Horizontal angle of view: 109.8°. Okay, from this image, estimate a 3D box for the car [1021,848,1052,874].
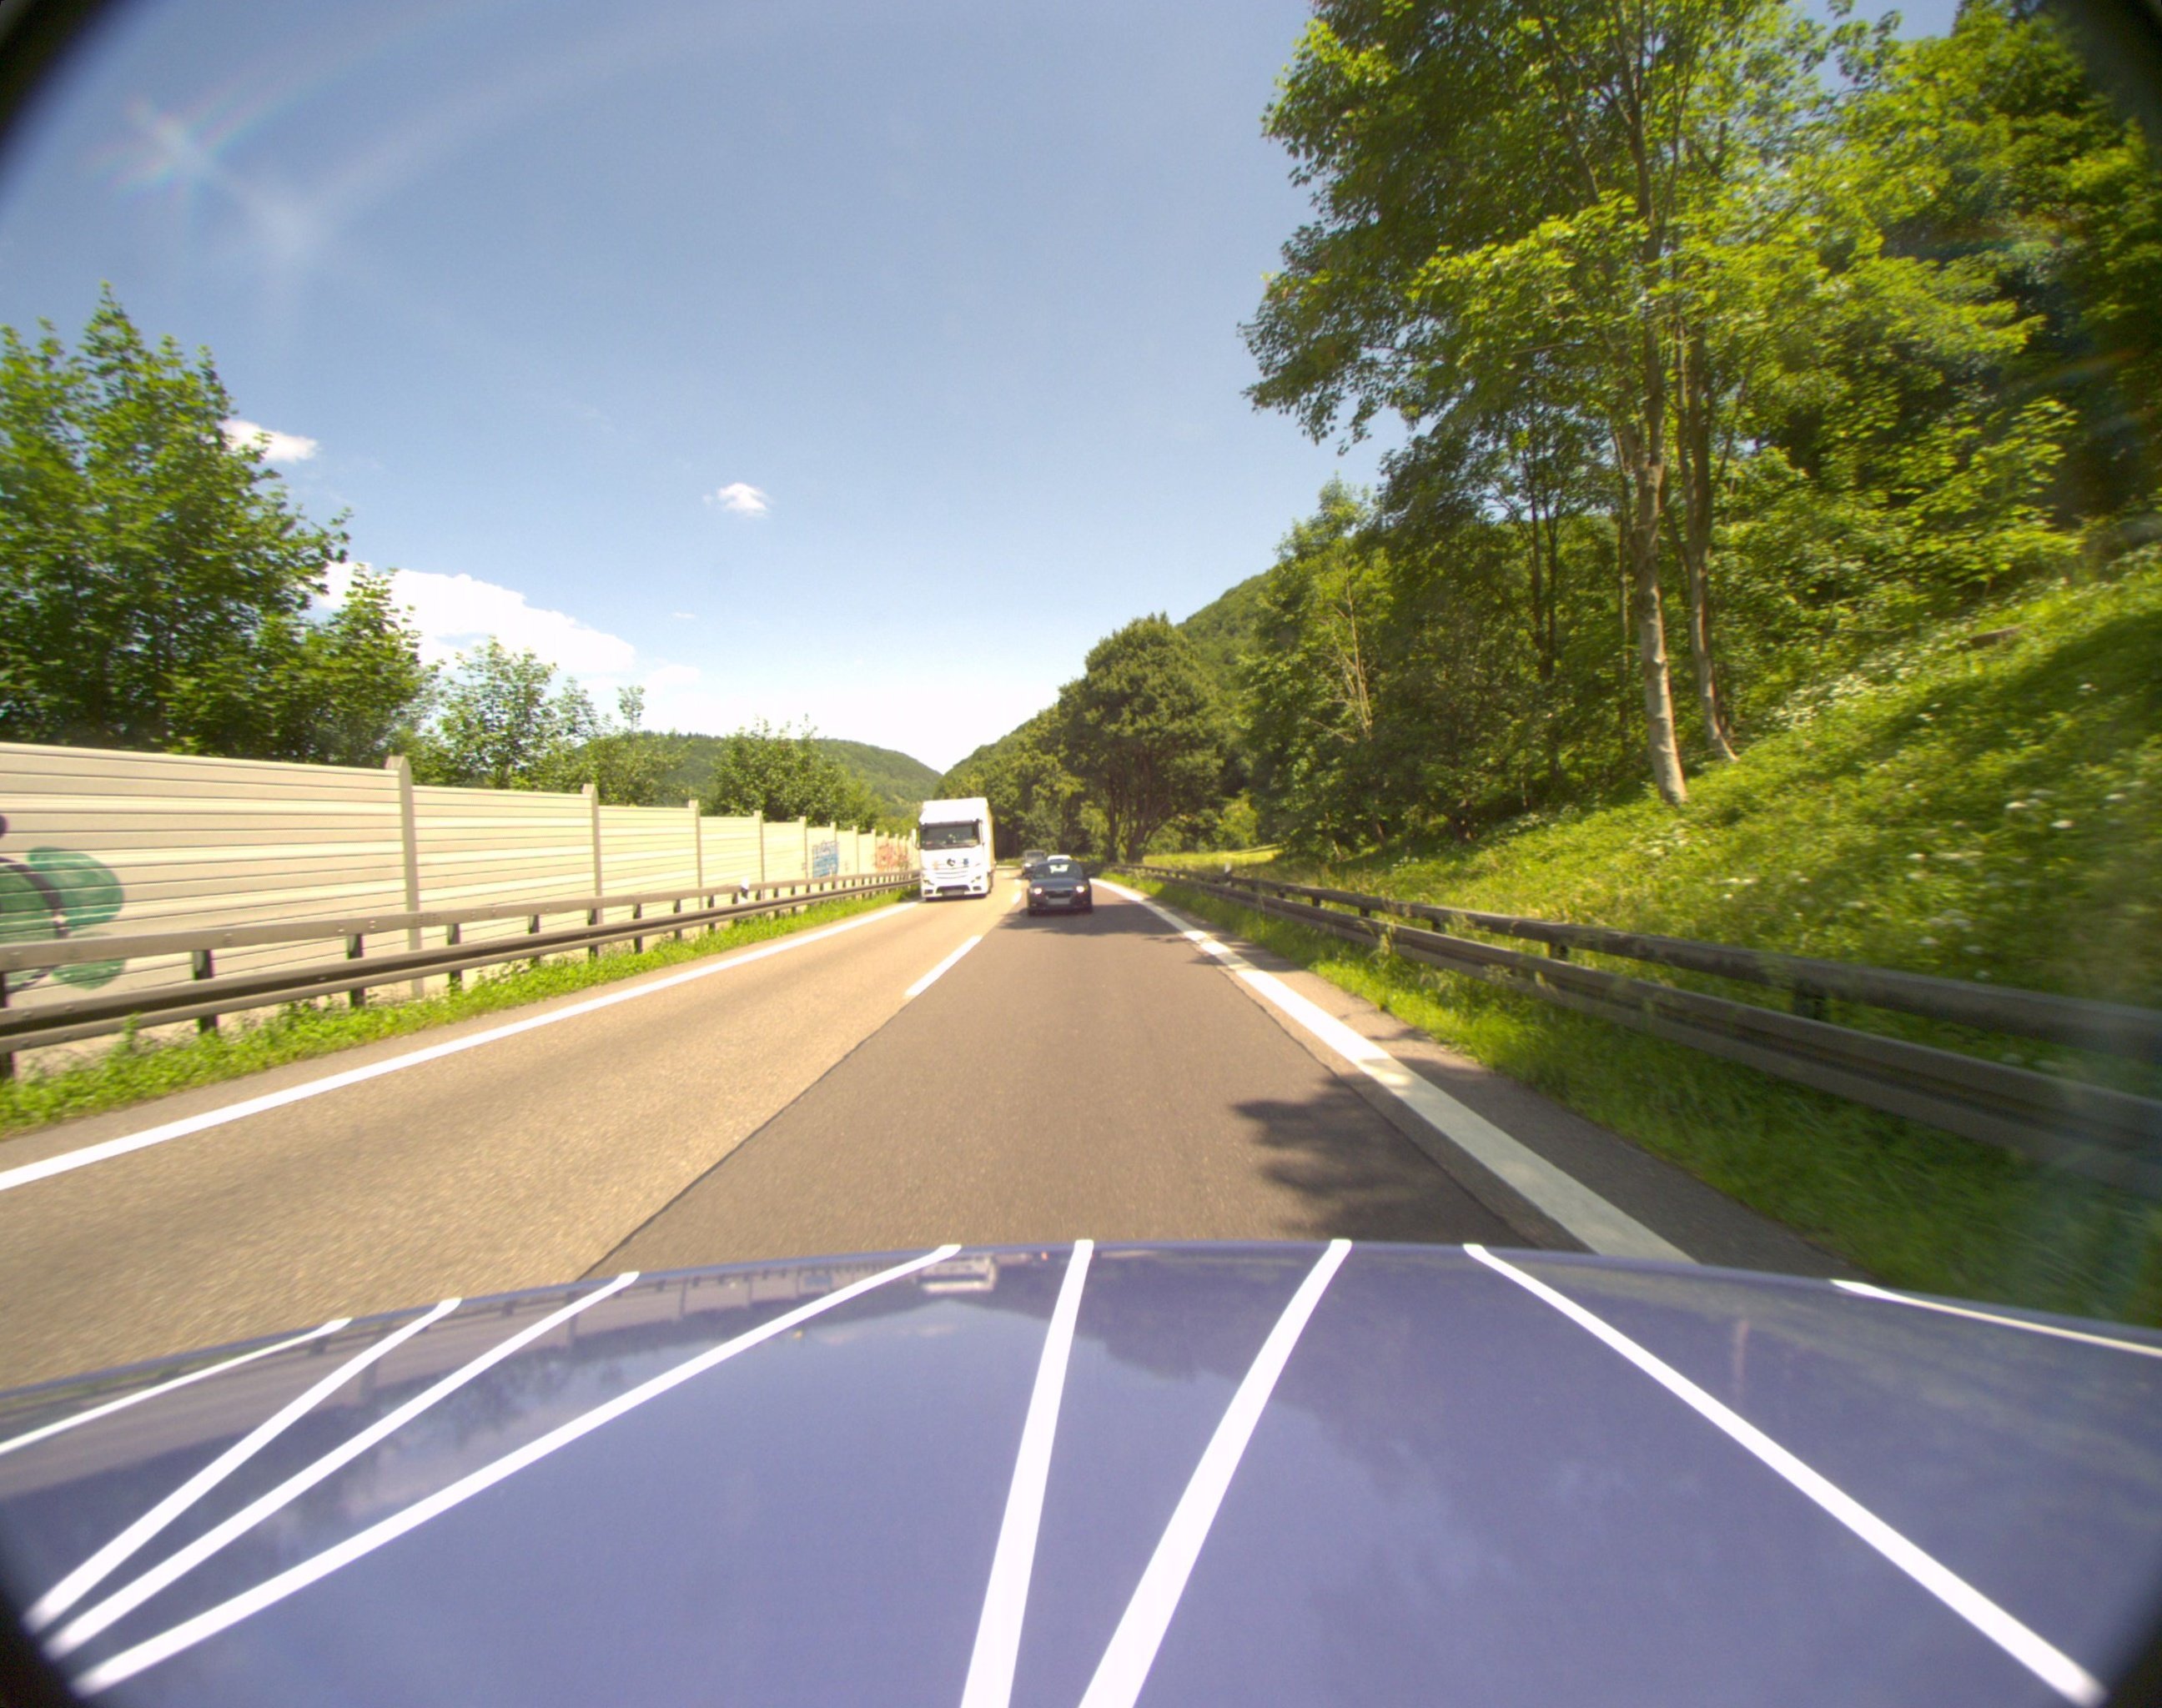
[{"bbox_3d":[-3.448,0.536,57.946,2.044,1.855,3.998,-3,0,-6],"label":"car"}]

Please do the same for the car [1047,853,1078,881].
[{"bbox_3d":[-1.168,0.746,45.933,1.716,1.541,3.998,-2,1,-4],"label":"car"}]

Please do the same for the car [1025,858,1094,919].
[{"bbox_3d":[-0.564,0.870,20.651,1.662,1.435,3.475,-3,0,-1],"label":"car"}]

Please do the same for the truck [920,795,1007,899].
[{"bbox_3d":[-5.389,-0.353,37.156,2.862,4.124,12.041,-3,1,-4],"label":"truck"}]

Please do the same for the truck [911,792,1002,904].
[{"bbox_3d":[-5.048,-0.289,32.143,2.765,4.016,6.820,-4,1,-3],"label":"truck"}]
